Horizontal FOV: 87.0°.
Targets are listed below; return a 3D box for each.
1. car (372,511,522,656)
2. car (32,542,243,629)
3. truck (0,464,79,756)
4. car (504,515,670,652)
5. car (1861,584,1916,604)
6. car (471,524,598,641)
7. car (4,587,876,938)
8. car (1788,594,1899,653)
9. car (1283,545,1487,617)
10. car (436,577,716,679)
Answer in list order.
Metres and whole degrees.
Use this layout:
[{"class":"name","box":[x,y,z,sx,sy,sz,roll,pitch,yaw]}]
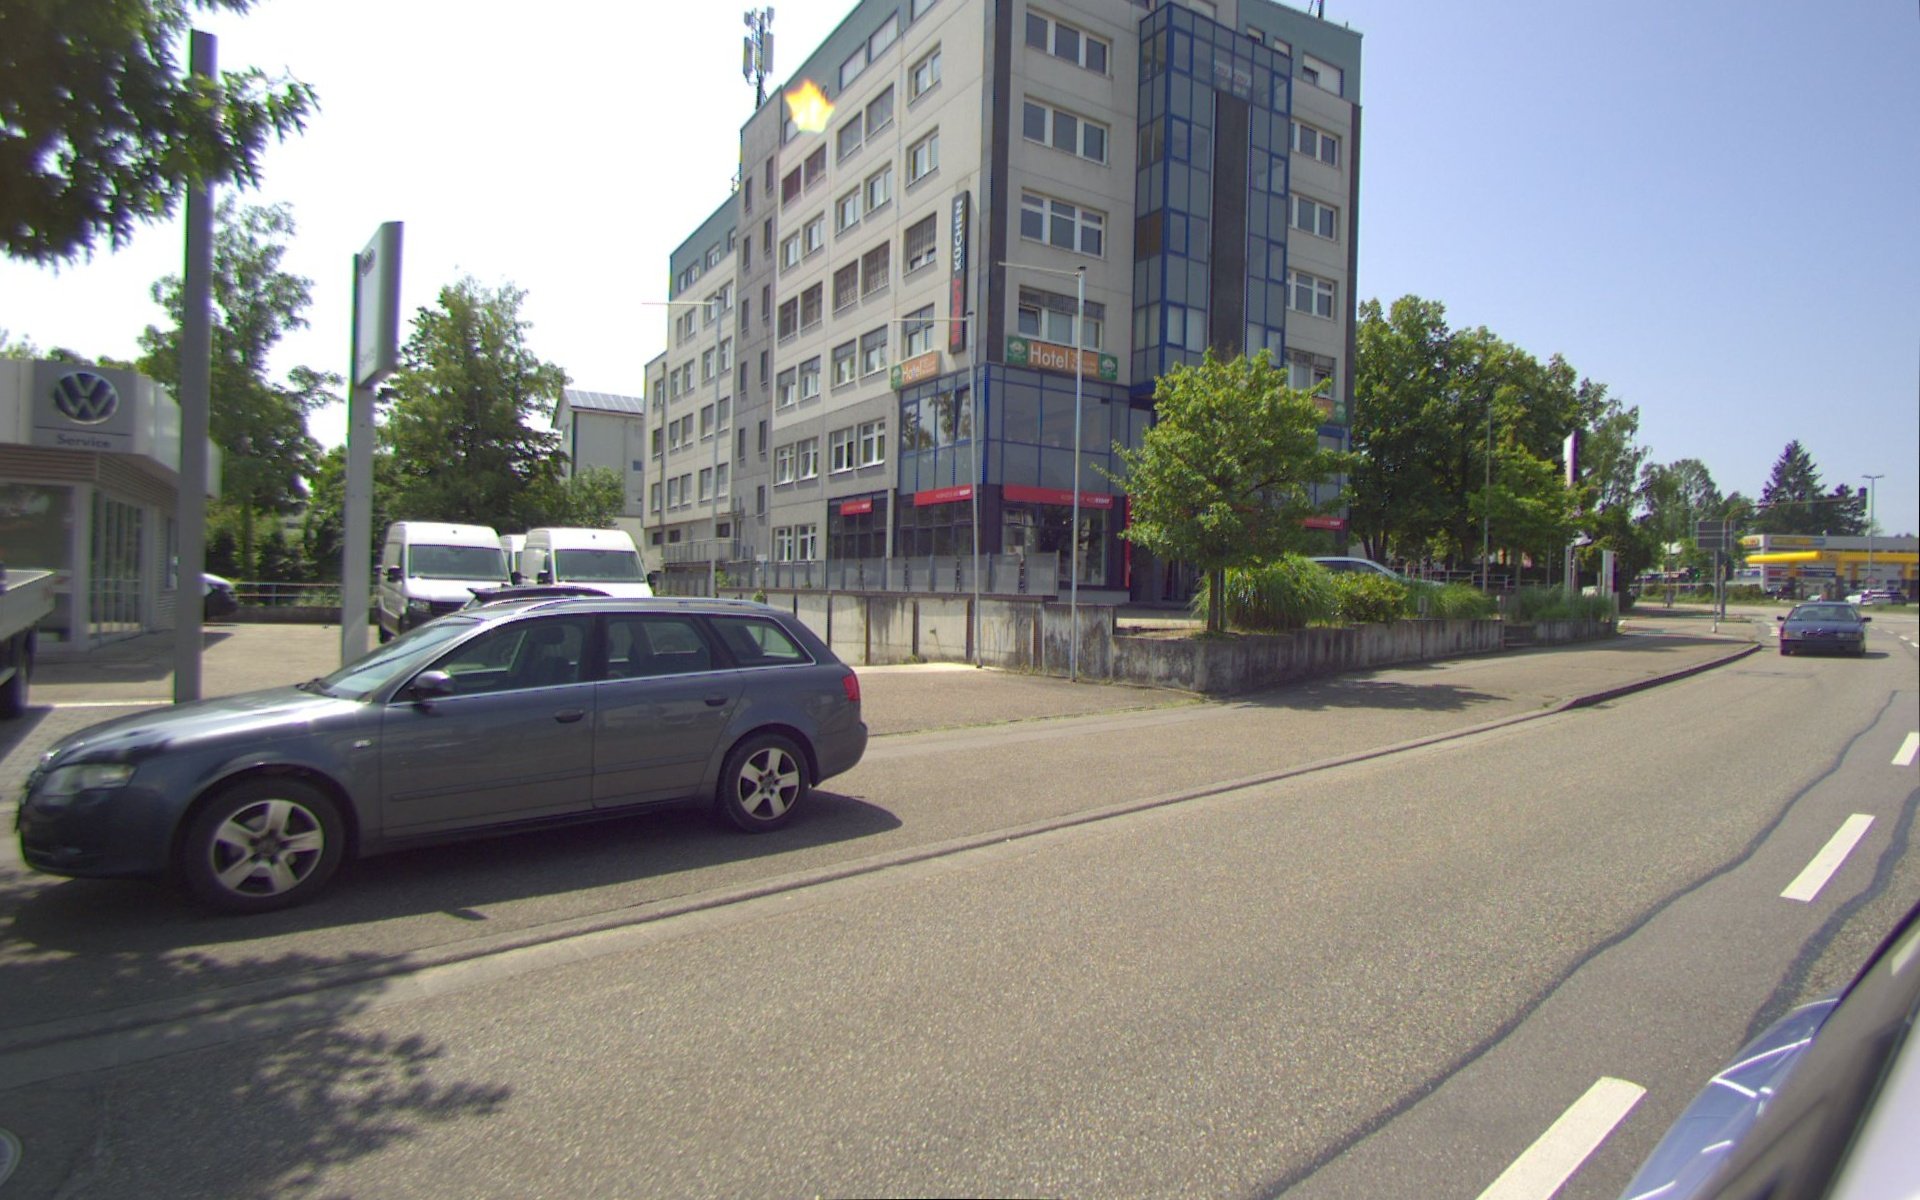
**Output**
[{"class":"car","box":[-10.567,-0.309,20.611,1.999,2.568,5.299,-1,1,-35]},{"class":"car","box":[-20.340,-0.368,25.182,3.929,1.994,1.951,-1,1,-40]},{"class":"truck","box":[-9.209,0.037,8.256,2.323,2.365,6.268,2,1,-35]},{"class":"car","box":[-8.280,-0.330,22.043,2.079,2.560,5.906,-1,1,-33]},{"class":"car","box":[76.482,-0.445,83.464,1.801,1.590,4.521,-1,-1,22]},{"class":"car","box":[-11.830,-0.448,27.834,1.962,2.845,6.136,-1,1,-35]},{"class":"car","box":[-2.773,0.657,6.148,4.242,1.424,1.801,0,0,-39]},{"class":"car","box":[23.074,0.549,26.389,3.931,1.390,1.696,-1,1,-41]},{"class":"car","box":[11.006,-0.453,26.270,4.697,1.735,1.980,-1,1,29]},{"class":"car","box":[-6.621,0.406,17.637,4.237,1.527,1.836,-1,1,-36]}]
